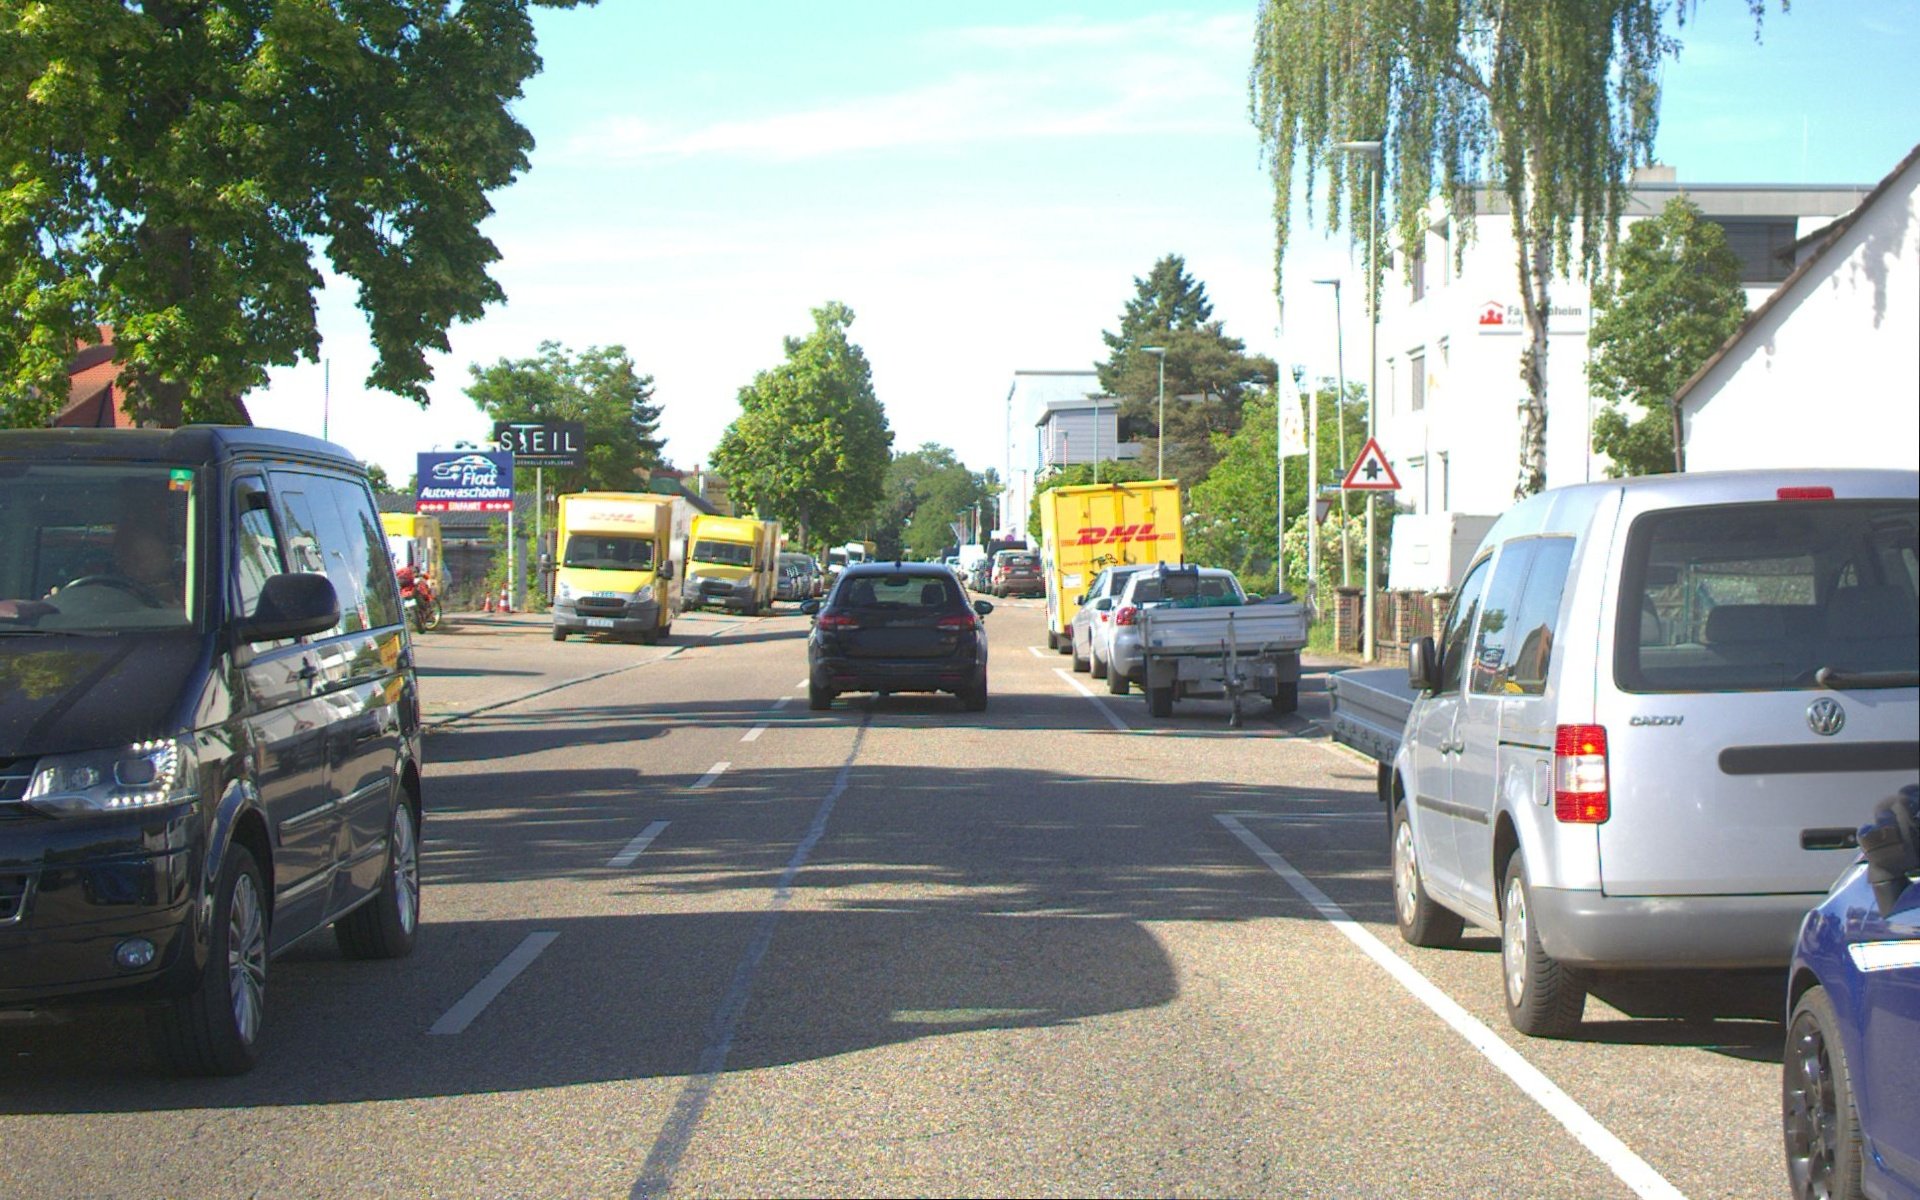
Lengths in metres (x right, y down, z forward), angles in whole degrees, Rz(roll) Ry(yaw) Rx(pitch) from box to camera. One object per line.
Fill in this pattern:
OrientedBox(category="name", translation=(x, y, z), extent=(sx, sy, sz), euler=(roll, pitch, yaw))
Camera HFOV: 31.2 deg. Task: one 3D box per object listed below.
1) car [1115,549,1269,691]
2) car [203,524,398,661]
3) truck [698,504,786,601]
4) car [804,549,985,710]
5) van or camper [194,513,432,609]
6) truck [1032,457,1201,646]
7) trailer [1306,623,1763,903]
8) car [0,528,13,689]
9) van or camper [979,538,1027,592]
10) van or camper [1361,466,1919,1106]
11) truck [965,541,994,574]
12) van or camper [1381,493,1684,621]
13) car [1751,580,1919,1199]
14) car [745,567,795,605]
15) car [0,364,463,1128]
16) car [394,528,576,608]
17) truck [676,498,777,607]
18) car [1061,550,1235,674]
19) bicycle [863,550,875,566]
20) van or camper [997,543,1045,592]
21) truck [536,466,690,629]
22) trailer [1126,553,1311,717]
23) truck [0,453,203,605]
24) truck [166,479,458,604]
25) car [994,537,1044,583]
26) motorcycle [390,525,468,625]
OrientedBox(category="car", translation=(2.686, 0.188, 40.140), extent=(1.674, 1.537, 4.043), euler=(1, 1, 3))
OrientedBox(category="car", translation=(-9.084, -0.126, 47.661), extent=(1.861, 1.708, 4.277), euler=(3, 1, -1))
OrientedBox(category="truck", translation=(-6.862, -1.503, 109.068), extent=(2.193, 2.892, 6.439), euler=(2, 1, 1))
OrientedBox(category="car", translation=(-0.612, 0.254, 34.882), extent=(1.712, 1.527, 3.687), euler=(0, 1, 1))
OrientedBox(category="van or camper", translation=(-13.827, -0.843, 73.602), extent=(4.544, 2.007, 2.250), euler=(0, 1, 6))
OrientedBox(category="truck", translation=(2.567, -0.816, 58.189), extent=(2.402, 2.926, 7.016), euler=(-2, 1, 0))
OrientedBox(category="trailer", translation=(2.810, 0.765, 17.425), extent=(1.627, 1.213, 3.145), euler=(0, 1, -3))
OrientedBox(category="car", translation=(-12.479, 0.094, 36.646), extent=(4.250, 1.723, 1.765), euler=(0, 1, 6))
OrientedBox(category="van or camper", translation=(1.862, -1.525, 148.828), extent=(1.993, 2.302, 4.000), euler=(0, 1, 0))
OrientedBox(category="van or camper", translation=(2.548, 0.526, 12.283), extent=(1.719, 1.884, 4.180), euler=(1, 1, 0))
OrientedBox(category="truck", translation=(1.356, -3.018, 243.358), extent=(1.993, 2.280, 6.956), euler=(0, 1, 0))
OrientedBox(category="van or camper", translation=(11.696, -0.884, 70.185), extent=(5.812, 2.532, 2.290), euler=(0, 1, -25))
OrientedBox(category="car", translation=(2.720, 0.742, 6.254), extent=(1.719, 1.499, 3.563), euler=(1, 1, 0))
OrientedBox(category="car", translation=(-7.099, -0.537, 128.853), extent=(1.756, 1.398, 4.558), euler=(0, 1, -2))
OrientedBox(category="car", translation=(-2.990, 0.371, 11.561), extent=(1.894, 2.024, 4.818), euler=(-1, 1, 0))
OrientedBox(category="car", translation=(-12.102, -0.822, 87.756), extent=(4.249, 2.007, 1.868), euler=(0, 1, 8))
OrientedBox(category="truck", translation=(-6.718, -1.364, 99.767), extent=(2.402, 2.973, 6.374), euler=(2, 1, 0))
OrientedBox(category="car", translation=(2.450, 0.120, 45.784), extent=(1.783, 1.537, 4.538), euler=(0, 1, -4))
OrientedBox(category="bicycle", translation=(-6.523, -3.018, 246.449), extent=(0.829, 1.149, 2.941), euler=(0, 1, -2))
OrientedBox(category="van or camper", translation=(2.527, -1.367, 144.029), extent=(1.919, 2.012, 4.080), euler=(0, 1, 0))
OrientedBox(category="truck", translation=(-6.814, -1.033, 68.234), extent=(2.402, 2.973, 7.246), euler=(2, 1, -1))
OrientedBox(category="trailer", translation=(2.525, 0.311, 34.156), extent=(1.627, 1.533, 3.198), euler=(0, 1, 1))
OrientedBox(category="truck", translation=(-19.644, -1.570, 74.574), extent=(5.671, 3.109, 2.522), euler=(2, 1, 11))
OrientedBox(category="truck", translation=(-14.430, -1.311, 76.675), extent=(5.924, 2.559, 2.223), euler=(2, 1, 11))
OrientedBox(category="car", translation=(2.368, -1.629, 138.626), extent=(1.919, 1.819, 4.080), euler=(0, 1, 0))
OrientedBox(category="motorcycle", translation=(-10.490, -0.513, 68.003), extent=(0.781, 1.866, 3.040), euler=(3, 2, 4))
